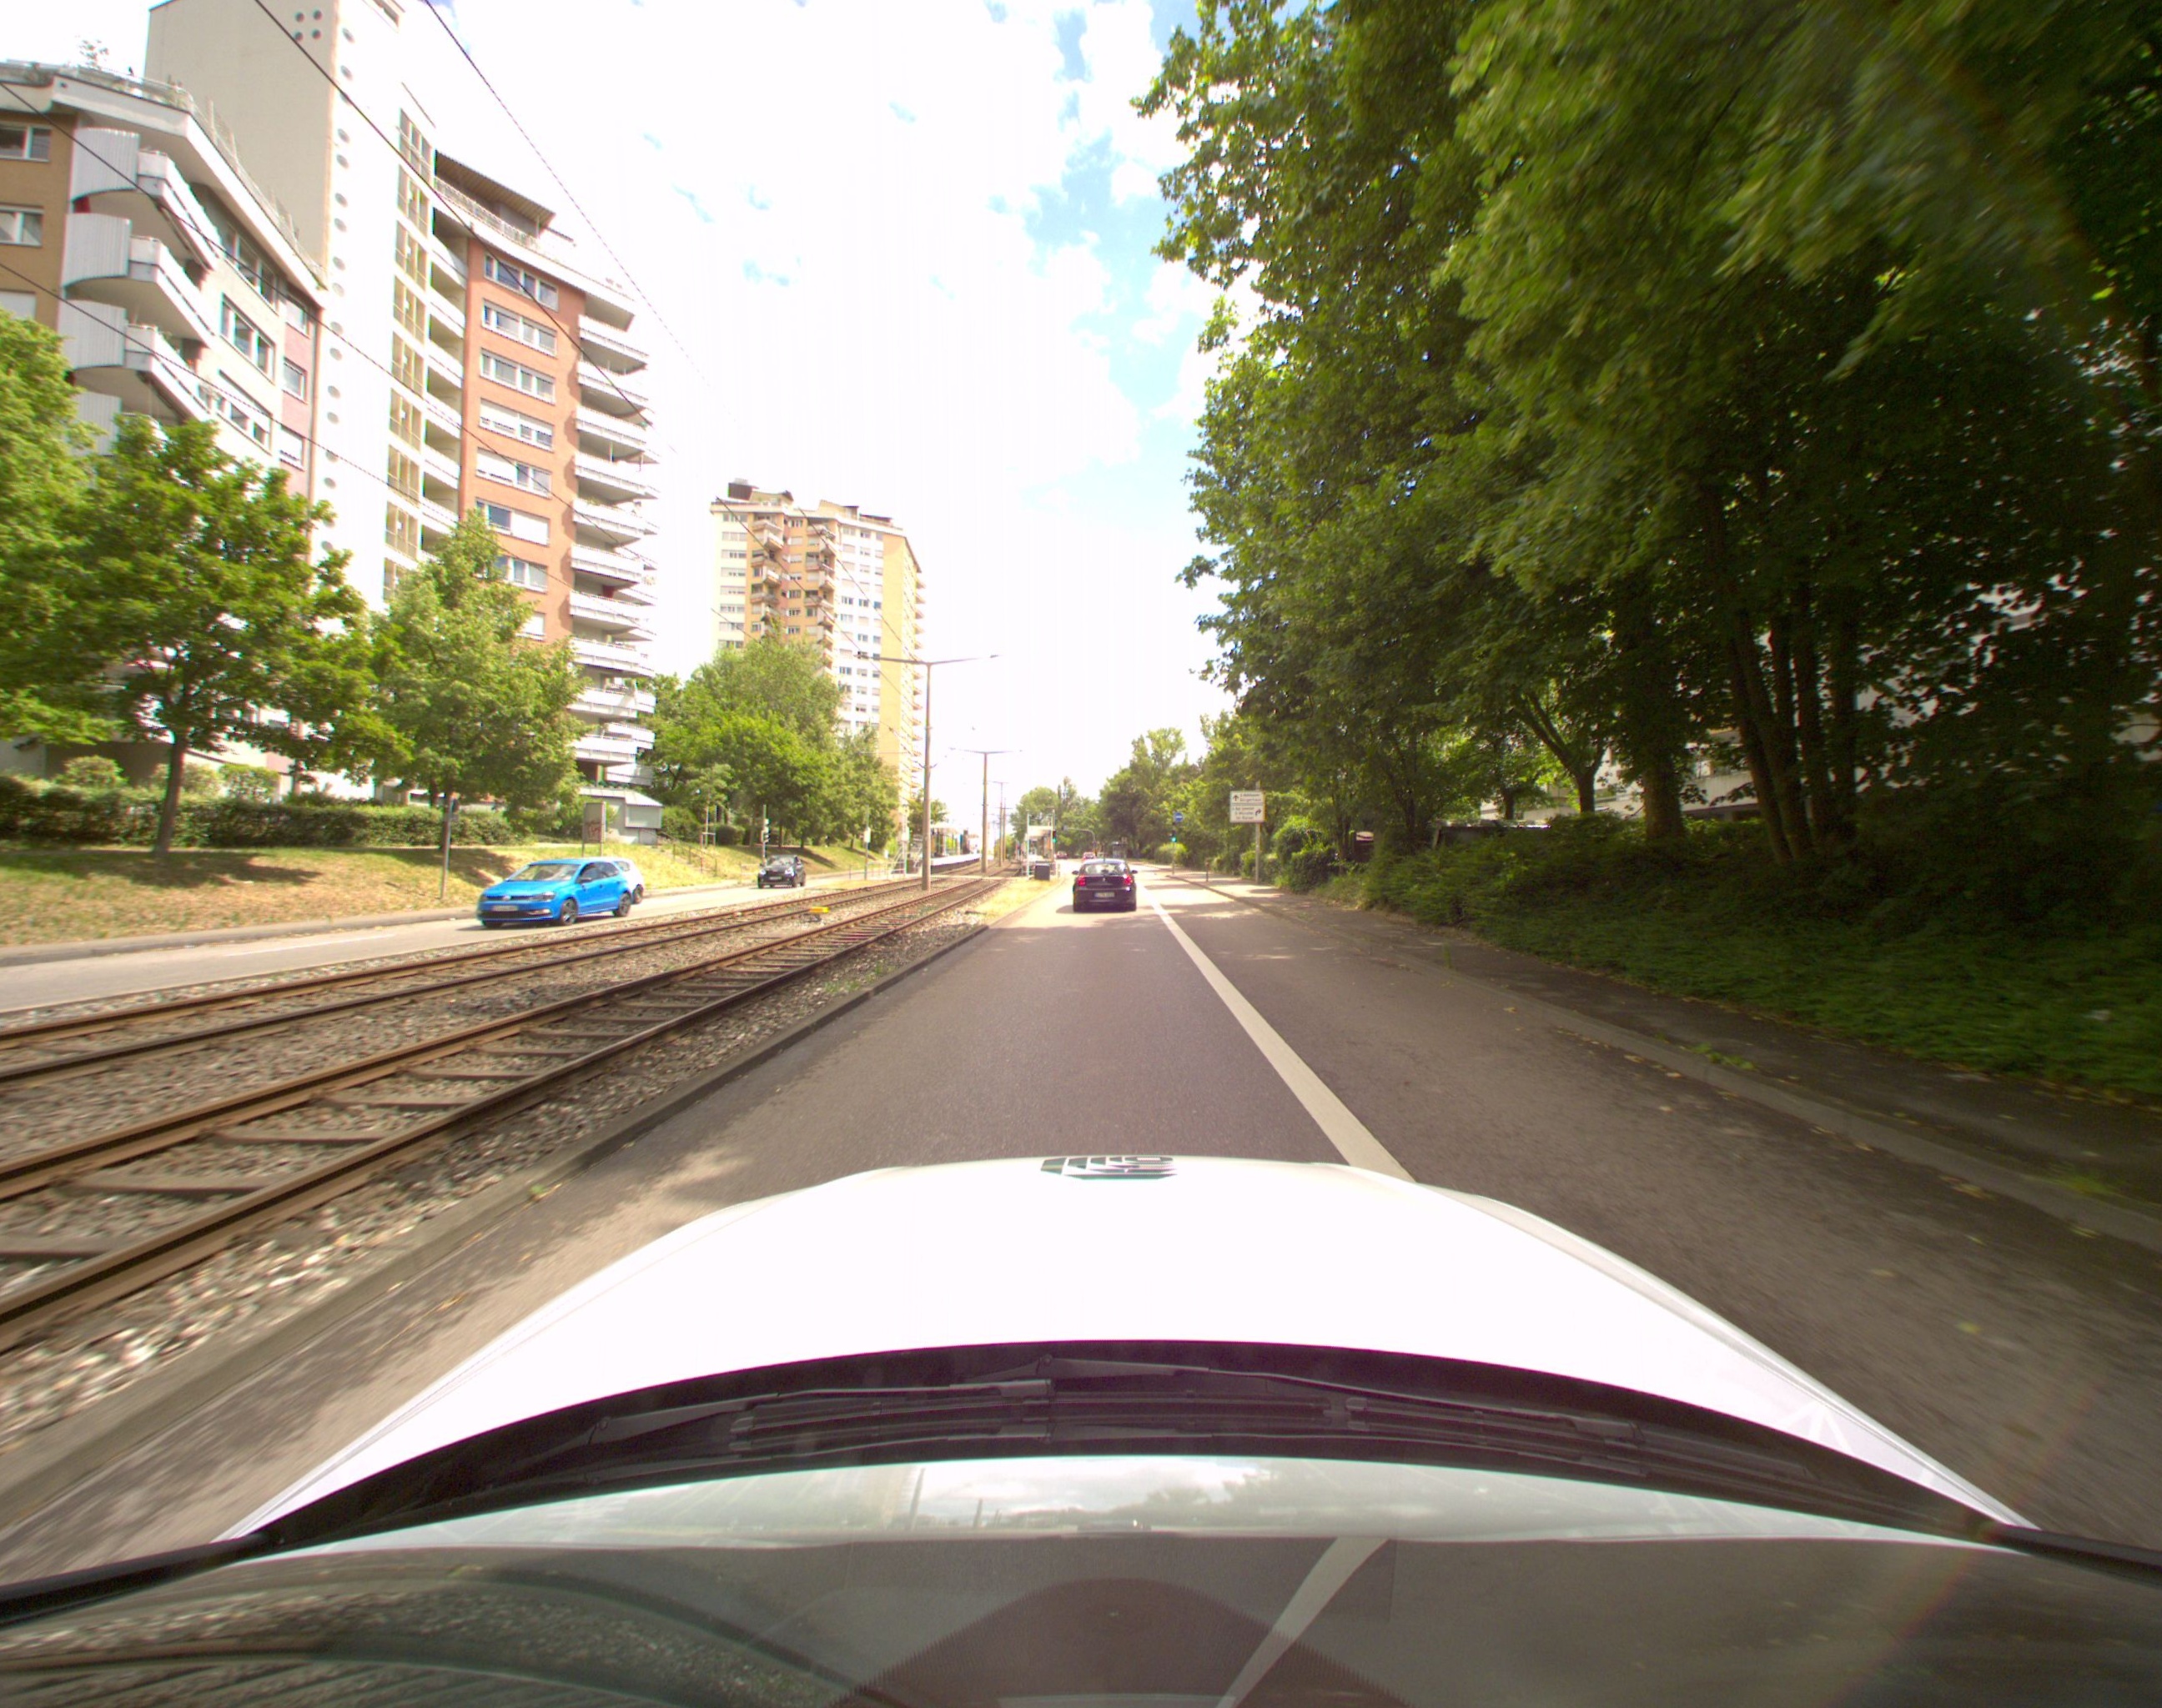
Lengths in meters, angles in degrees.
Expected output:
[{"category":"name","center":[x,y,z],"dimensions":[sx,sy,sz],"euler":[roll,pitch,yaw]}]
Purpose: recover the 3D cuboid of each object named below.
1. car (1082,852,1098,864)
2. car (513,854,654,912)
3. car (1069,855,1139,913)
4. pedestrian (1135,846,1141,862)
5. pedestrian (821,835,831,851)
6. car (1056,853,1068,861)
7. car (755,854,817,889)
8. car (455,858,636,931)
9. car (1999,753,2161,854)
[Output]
[{"category":"car","center":[1.086,0.475,97.835],"dimensions":[1.777,1.459,3.918],"euler":[0,0,-2]},{"category":"car","center":[-14.584,0.786,24.189],"dimensions":[1.778,1.532,4.238],"euler":[-1,0,-4]},{"category":"car","center":[0.590,0.779,23.041],"dimensions":[1.776,1.459,3.920],"euler":[-1,0,-1]},{"category":"pedestrian","center":[7.199,0.030,103.362],"dimensions":[0.737,2.013,0.682],"euler":[0,0,2]},{"category":"pedestrian","center":[-24.924,-1.057,79.540],"dimensions":[0.628,1.534,0.637],"euler":[-1,0,19]},{"category":"car","center":[-3.327,0.534,144.690],"dimensions":[1.906,1.459,3.996],"euler":[0,0,-4]},{"category":"car","center":[-13.767,0.792,38.205],"dimensions":[1.711,1.564,3.694],"euler":[0,0,-3]},{"category":"car","center":[-11.840,0.821,18.357],"dimensions":[1.713,1.442,3.936],"euler":[0,0,-5]},{"category":"car","center":[16.550,-0.756,12.210],"dimensions":[1.651,1.459,3.551],"euler":[-1,0,3]}]
